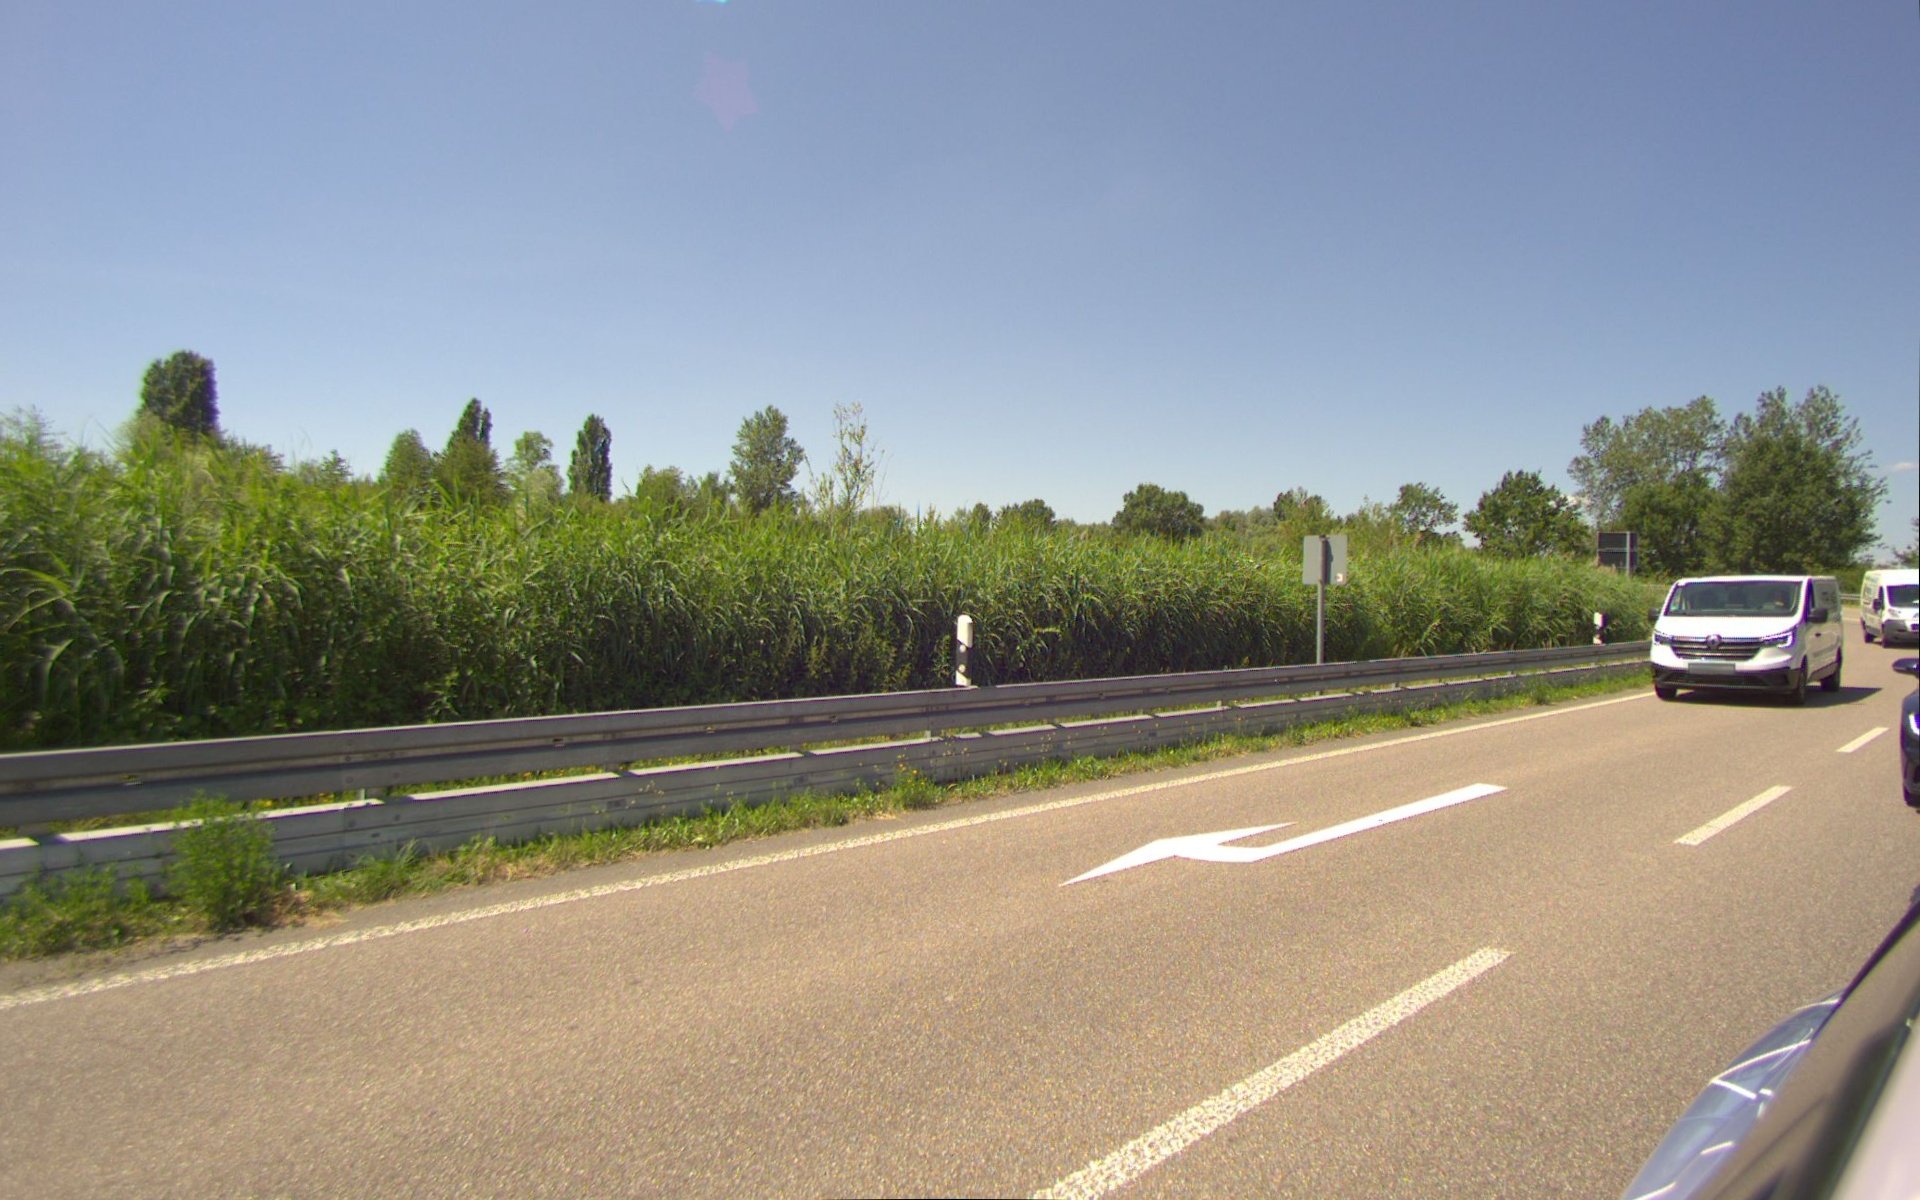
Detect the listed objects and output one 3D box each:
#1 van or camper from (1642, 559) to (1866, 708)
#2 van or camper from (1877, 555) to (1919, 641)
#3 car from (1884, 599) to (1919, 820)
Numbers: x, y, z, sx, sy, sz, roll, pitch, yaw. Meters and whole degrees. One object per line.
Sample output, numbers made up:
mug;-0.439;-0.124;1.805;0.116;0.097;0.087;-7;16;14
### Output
van or camper;13.126;0.438;16.590;5.354;2.057;2.006;0;0;-42
van or camper;31.006;-0.076;32.472;2.065;2.587;5.961;0;0;40
car;8.482;0.706;7.552;4.454;1.449;1.841;0;0;-41
